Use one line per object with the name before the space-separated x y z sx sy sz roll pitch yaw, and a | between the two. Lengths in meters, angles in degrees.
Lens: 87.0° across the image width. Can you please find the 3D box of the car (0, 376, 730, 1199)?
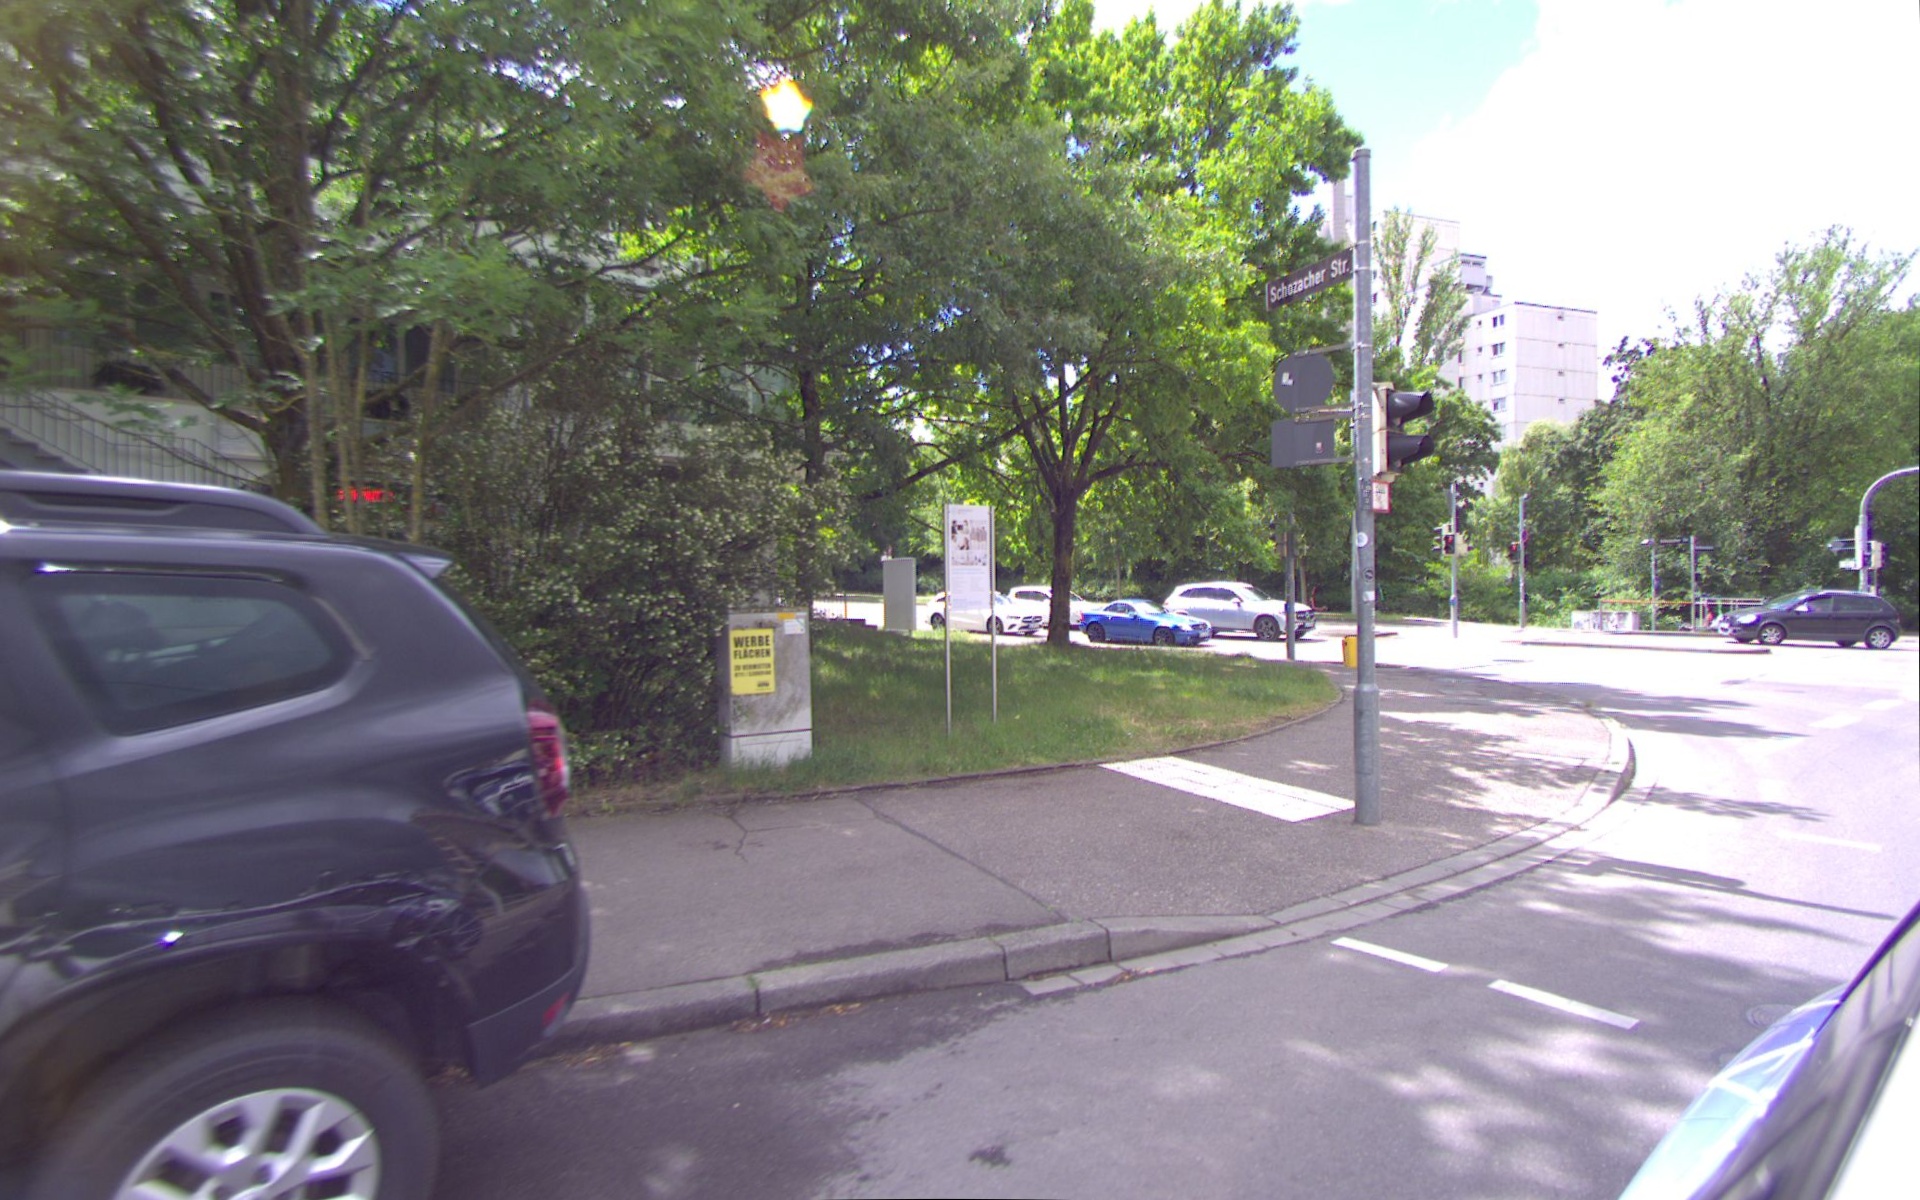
car | -2.796 0.514 1.630 4.489 1.784 1.647 0 1 -41

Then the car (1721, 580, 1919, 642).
car | 23.159 0.261 27.360 3.742 1.557 1.674 1 1 17

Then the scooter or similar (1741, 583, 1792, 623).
scooter or similar | 25.574 0.087 32.099 0.440 1.210 1.172 1 1 -32

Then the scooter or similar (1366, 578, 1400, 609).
scooter or similar | 16.924 -0.271 40.491 0.513 1.197 1.176 1 1 -32

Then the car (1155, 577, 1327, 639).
car | 8.277 0.158 30.144 1.892 1.611 4.646 -3 3 -43

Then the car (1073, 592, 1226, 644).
car | 5.350 0.470 28.894 1.882 1.240 3.963 -3 4 -43

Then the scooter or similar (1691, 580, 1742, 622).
scooter or similar | 23.657 0.024 31.670 1.199 1.250 0.475 1 0 27

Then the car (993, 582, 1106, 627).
car | 3.133 0.123 35.933 3.887 1.429 1.583 2 4 45

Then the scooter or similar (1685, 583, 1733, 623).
scooter or similar | 24.162 0.092 32.654 1.181 1.250 0.472 1 1 42

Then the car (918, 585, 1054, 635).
car | 0.802 0.264 33.552 4.391 1.432 1.921 2 4 45
